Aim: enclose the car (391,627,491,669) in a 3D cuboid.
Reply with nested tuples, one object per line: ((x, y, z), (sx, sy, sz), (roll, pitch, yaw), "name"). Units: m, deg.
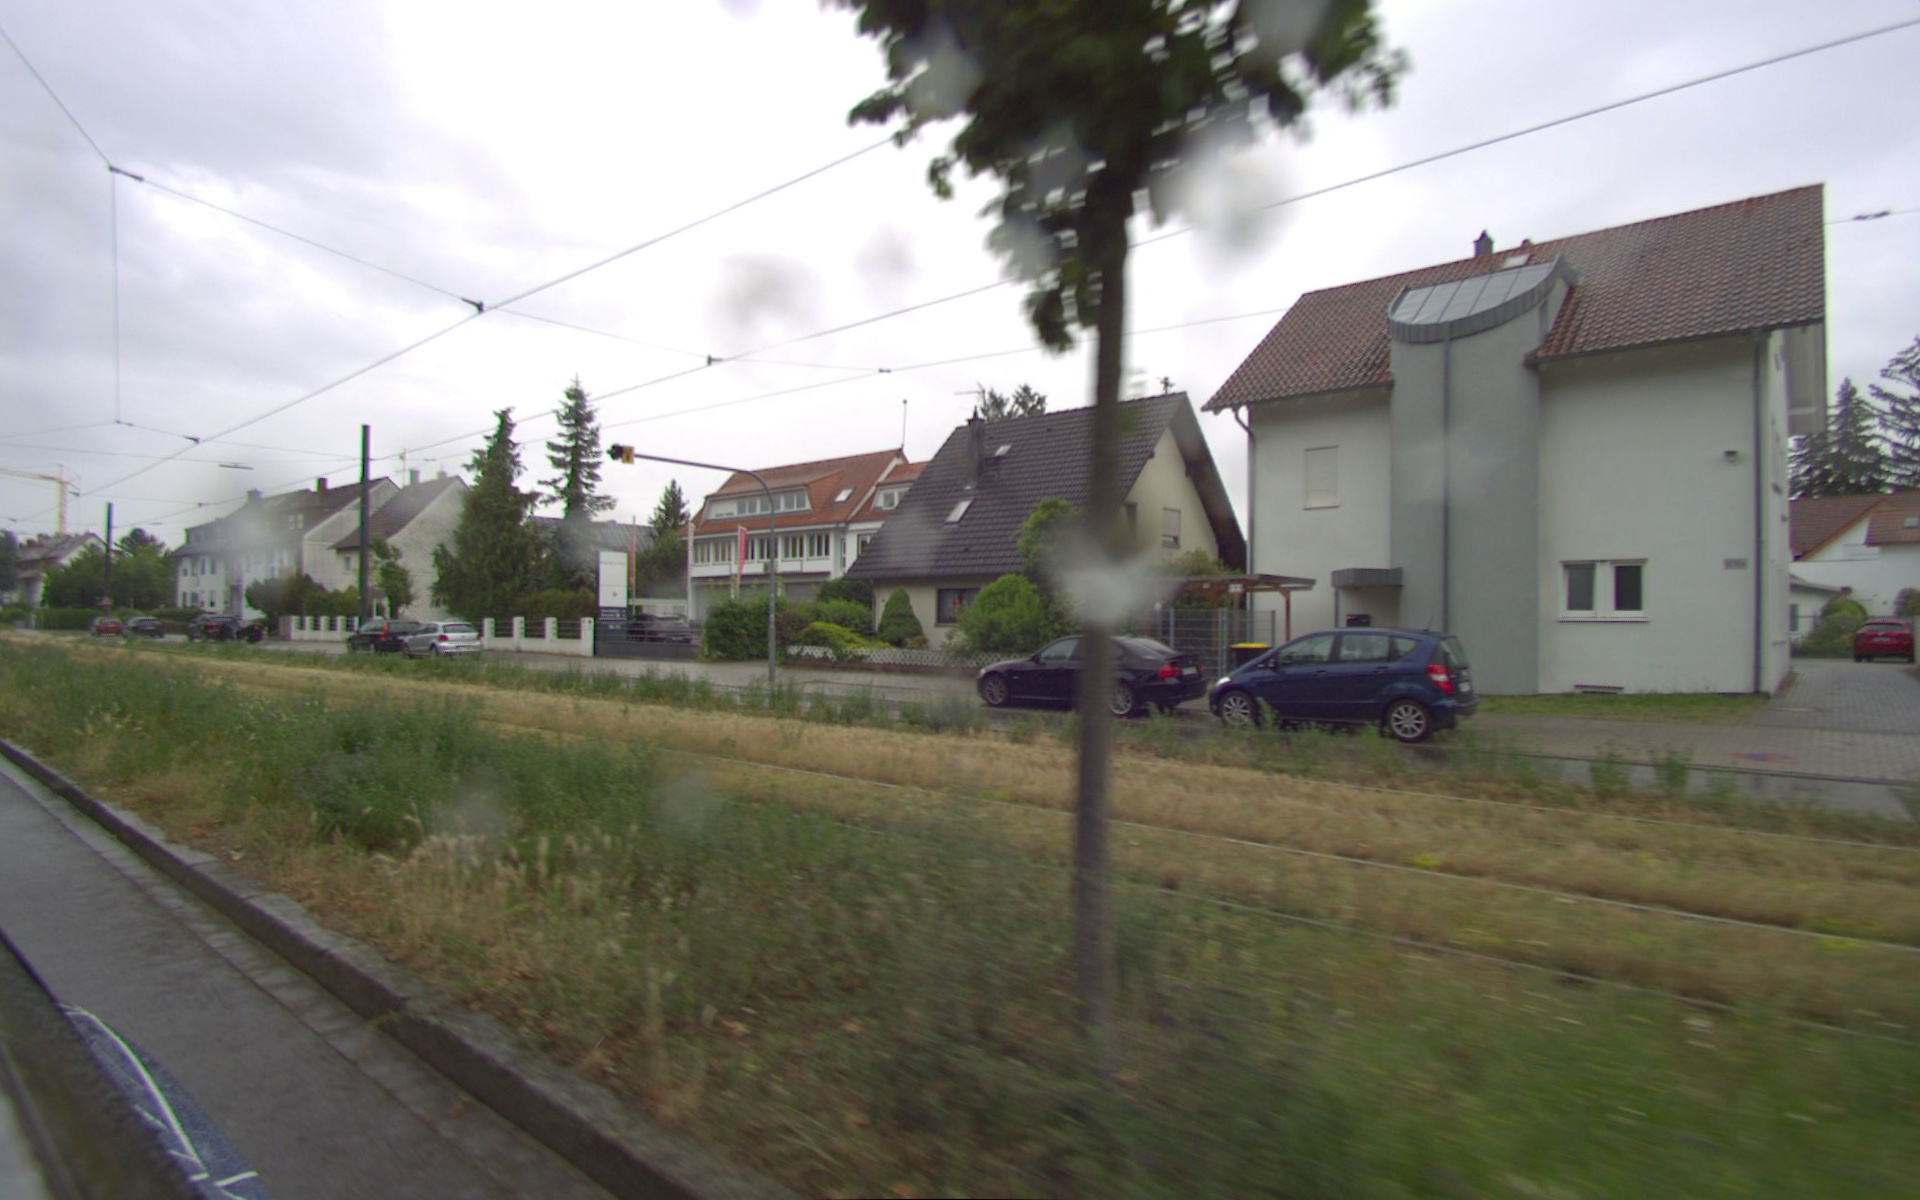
((-19.391, 1.767, 37.788), (3.968, 1.421, 1.973), (-2, -1, 40), "car")

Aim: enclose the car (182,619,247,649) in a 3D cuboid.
((-43.184, 1.936, 58.574), (4.382, 1.687, 1.974), (-1, -2, 39), "car")

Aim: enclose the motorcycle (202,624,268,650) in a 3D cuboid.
((-39.568, 2.012, 55.242), (2.645, 1.421, 1.269), (0, 0, -7), "motorcycle")

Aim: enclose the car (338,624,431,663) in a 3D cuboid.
((-23.420, 1.721, 41.135), (4.530, 1.467, 1.972), (-2, -1, 42), "car")

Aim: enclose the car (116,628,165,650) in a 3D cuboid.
((-56.182, 2.638, 69.353), (4.761, 1.421, 1.972), (-2, -1, 42), "car")

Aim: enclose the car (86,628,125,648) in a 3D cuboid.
((-64.790, 2.850, 76.732), (3.999, 1.468, 1.778), (-2, -1, 42), "car")

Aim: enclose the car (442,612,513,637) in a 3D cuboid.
((-32.090, 1.596, 67.421), (1.702, 1.551, 3.918), (-2, -1, 39), "car")

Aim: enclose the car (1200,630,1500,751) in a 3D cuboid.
((5.876, 1.264, 15.465), (3.867, 1.562, 1.854), (-2, -1, 41), "car")

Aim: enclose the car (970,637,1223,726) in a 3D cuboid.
((2.423, 1.400, 18.623), (4.239, 1.361, 1.972), (-2, -1, 42), "car")

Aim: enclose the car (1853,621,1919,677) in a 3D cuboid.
((36.048, 1.860, 38.935), (3.937, 2.029, 2.003), (2, -2, -41), "car")

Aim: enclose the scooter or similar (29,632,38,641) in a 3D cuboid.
((-94.929, 3.769, 103.683), (1.255, 0.917, 0.343), (-1, -3, 35), "scooter or similar")

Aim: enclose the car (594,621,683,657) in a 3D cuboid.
((-13.478, 1.617, 42.324), (3.968, 1.421, 1.681), (-2, -1, 40), "car")
